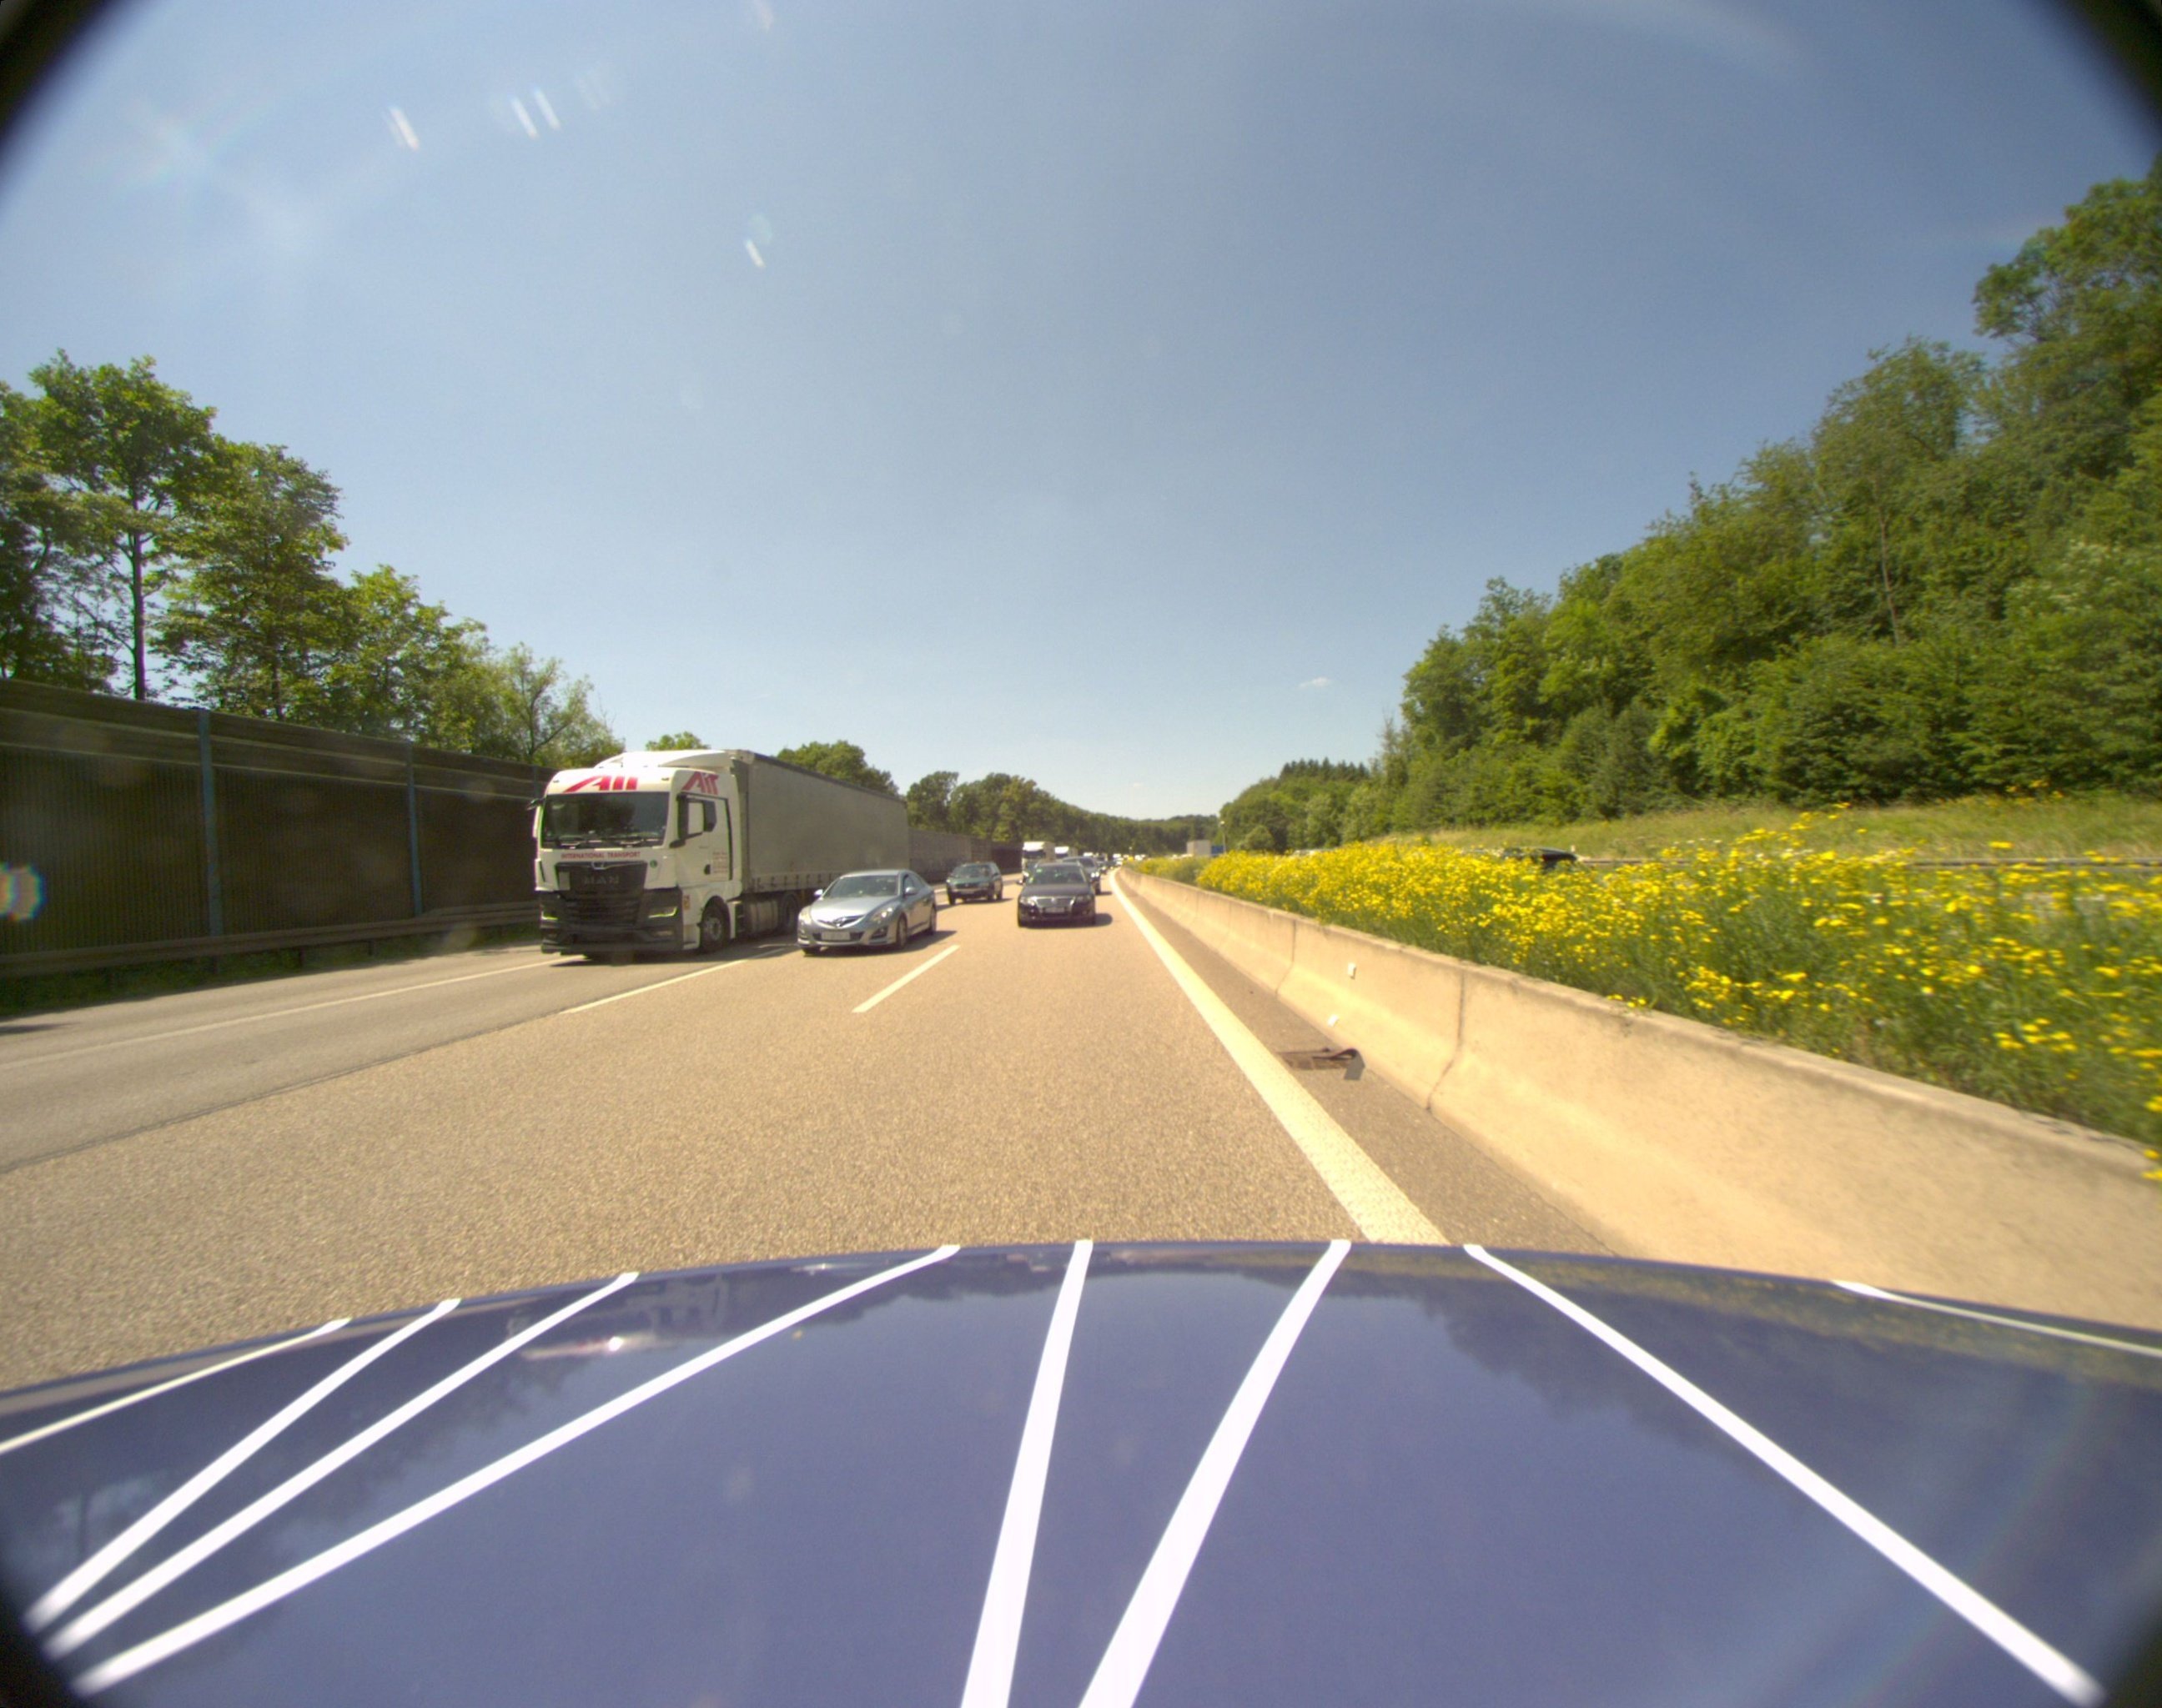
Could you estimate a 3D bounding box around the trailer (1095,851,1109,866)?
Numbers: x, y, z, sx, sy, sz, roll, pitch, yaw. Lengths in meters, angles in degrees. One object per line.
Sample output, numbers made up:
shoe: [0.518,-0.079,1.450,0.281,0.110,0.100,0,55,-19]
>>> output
trailer: [6.256,1.301,225.197,3.154,4.060,6.186,-2,0,8]

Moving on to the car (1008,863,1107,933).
car: [-0.444,0.977,18.457,1.907,1.410,4.002,-2,-1,4]

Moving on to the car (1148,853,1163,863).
car: [11.989,0.679,122.153,1.943,1.494,4.659,-2,0,1]

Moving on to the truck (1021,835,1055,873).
truck: [-5.058,0.021,90.472,2.810,4.190,5.425,-2,0,8]

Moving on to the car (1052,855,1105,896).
car: [-0.050,0.884,33.160,1.998,1.641,4.001,-2,0,3]

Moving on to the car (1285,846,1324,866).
car: [19.632,0.190,66.922,1.998,1.682,4.767,-2,0,1]

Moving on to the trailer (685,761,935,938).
trailer: [-7.698,-0.106,24.702,2.604,4.066,13.593,-2,0,2]

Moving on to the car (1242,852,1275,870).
car: [15.272,0.591,65.565,1.998,1.435,4.007,-2,0,1]

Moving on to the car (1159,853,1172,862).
car: [14.972,0.579,134.865,1.998,1.489,4.248,-2,0,1]

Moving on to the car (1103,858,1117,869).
car: [4.742,1.496,123.255,1.997,1.641,4.002,-2,0,7]

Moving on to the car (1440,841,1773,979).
car: [6.859,0.635,10.550,1.844,1.488,4.000,-2,0,1]

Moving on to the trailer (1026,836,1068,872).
trailer: [-4.166,0.037,97.165,2.820,4.189,13.473,-2,-1,8]

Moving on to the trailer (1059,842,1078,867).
trailer: [-2.152,0.170,135.032,2.542,4.149,10.180,-2,-1,4]

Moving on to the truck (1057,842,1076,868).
truck: [-2.454,0.170,130.067,2.545,4.149,4.747,-2,0,4]

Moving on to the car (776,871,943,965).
car: [-4.061,1.112,14.705,1.860,1.426,4.177,-2,-1,1]

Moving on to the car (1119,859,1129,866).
car: [9.821,1.935,175.032,1.997,1.641,4.002,-2,0,7]

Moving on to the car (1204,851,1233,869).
car: [12.655,0.566,70.202,1.998,1.563,4.065,-2,0,1]

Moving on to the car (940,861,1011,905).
car: [-4.078,1.095,30.075,1.907,1.550,4.002,-2,-1,4]

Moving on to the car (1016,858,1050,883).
car: [-3.404,1.140,54.863,1.998,1.641,4.000,-2,0,2]

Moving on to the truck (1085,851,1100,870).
truck: [2.811,1.572,188.602,2.852,4.381,5.243,-2,0,8]

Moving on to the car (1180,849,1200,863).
car: [13.722,0.264,95.799,1.889,1.745,4.277,-2,0,1]

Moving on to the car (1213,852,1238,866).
car: [15.859,0.528,83.807,1.998,1.483,4.000,-2,0,1]

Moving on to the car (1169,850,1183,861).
car: [14.488,0.251,115.602,1.679,1.489,3.883,-2,0,1]

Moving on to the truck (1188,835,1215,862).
truck: [18.832,-0.838,119.400,2.835,3.915,13.750,-2,0,4]

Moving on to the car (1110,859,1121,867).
car: [6.932,1.789,152.606,1.997,1.641,4.002,-2,0,7]

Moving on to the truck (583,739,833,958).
truck: [-7.991,-0.091,17.198,2.604,4.066,5.553,-2,0,2]

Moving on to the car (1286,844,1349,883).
car: [11.435,0.446,36.987,1.741,1.723,4.148,-2,0,0]
